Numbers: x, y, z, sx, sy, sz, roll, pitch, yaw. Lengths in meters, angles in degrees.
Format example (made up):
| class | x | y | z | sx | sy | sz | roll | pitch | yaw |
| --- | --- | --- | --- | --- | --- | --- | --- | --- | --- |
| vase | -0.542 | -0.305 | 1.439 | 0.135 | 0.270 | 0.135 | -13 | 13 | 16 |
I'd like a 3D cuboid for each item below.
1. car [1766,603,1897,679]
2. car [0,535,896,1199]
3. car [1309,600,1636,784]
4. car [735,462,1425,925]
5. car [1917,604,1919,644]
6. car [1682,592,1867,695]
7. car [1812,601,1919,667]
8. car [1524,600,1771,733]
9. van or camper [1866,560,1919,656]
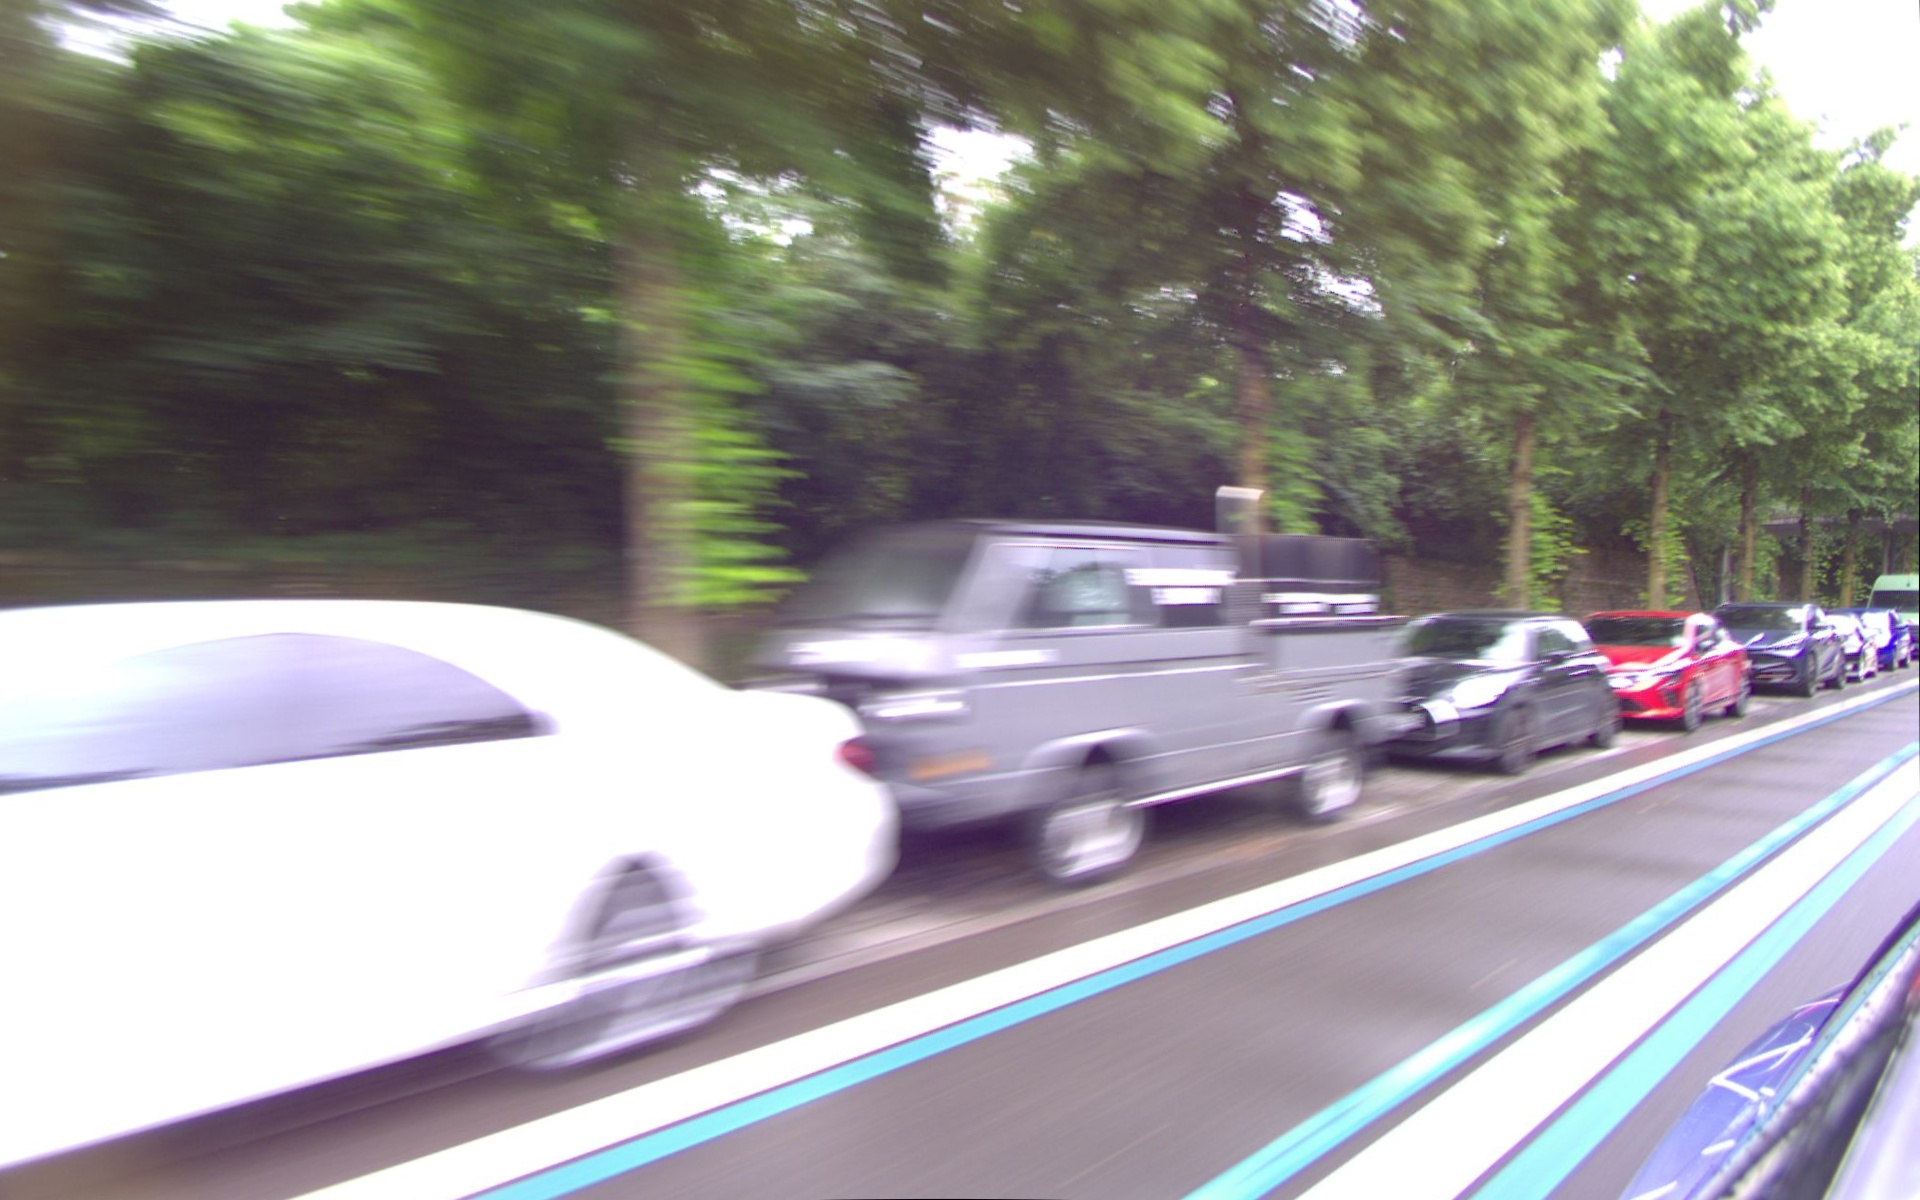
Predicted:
| class | x | y | z | sx | sy | sz | roll | pitch | yaw |
| --- | --- | --- | --- | --- | --- | --- | --- | --- | --- |
| car | 18.710 | 0.807 | 21.669 | 4.076 | 1.474 | 1.687 | 1 | -1 | -43 |
| car | -2.614 | 0.644 | 2.943 | 4.805 | 1.562 | 1.791 | 0 | -1 | -42 |
| car | 5.124 | 0.749 | 9.925 | 3.681 | 1.471 | 1.608 | 1 | -1 | -41 |
| car | 1.047 | 0.414 | 6.697 | 4.580 | 2.048 | 1.930 | 1 | 0 | -40 |
| car | 35.814 | 0.857 | 36.297 | 4.026 | 1.434 | 1.690 | 0 | 0 | -39 |
| car | 14.599 | 0.704 | 18.056 | 4.418 | 1.610 | 1.759 | 1 | -1 | -40 |
| car | 22.848 | 0.796 | 25.347 | 3.767 | 1.533 | 1.689 | 1 | -1 | -40 |
| car | 9.060 | 0.759 | 13.220 | 4.092 | 1.471 | 1.688 | 1 | -1 | -41 |
| van or camper | 30.103 | 0.246 | 31.464 | 6.779 | 2.764 | 2.045 | 1 | -1 | -41 |
